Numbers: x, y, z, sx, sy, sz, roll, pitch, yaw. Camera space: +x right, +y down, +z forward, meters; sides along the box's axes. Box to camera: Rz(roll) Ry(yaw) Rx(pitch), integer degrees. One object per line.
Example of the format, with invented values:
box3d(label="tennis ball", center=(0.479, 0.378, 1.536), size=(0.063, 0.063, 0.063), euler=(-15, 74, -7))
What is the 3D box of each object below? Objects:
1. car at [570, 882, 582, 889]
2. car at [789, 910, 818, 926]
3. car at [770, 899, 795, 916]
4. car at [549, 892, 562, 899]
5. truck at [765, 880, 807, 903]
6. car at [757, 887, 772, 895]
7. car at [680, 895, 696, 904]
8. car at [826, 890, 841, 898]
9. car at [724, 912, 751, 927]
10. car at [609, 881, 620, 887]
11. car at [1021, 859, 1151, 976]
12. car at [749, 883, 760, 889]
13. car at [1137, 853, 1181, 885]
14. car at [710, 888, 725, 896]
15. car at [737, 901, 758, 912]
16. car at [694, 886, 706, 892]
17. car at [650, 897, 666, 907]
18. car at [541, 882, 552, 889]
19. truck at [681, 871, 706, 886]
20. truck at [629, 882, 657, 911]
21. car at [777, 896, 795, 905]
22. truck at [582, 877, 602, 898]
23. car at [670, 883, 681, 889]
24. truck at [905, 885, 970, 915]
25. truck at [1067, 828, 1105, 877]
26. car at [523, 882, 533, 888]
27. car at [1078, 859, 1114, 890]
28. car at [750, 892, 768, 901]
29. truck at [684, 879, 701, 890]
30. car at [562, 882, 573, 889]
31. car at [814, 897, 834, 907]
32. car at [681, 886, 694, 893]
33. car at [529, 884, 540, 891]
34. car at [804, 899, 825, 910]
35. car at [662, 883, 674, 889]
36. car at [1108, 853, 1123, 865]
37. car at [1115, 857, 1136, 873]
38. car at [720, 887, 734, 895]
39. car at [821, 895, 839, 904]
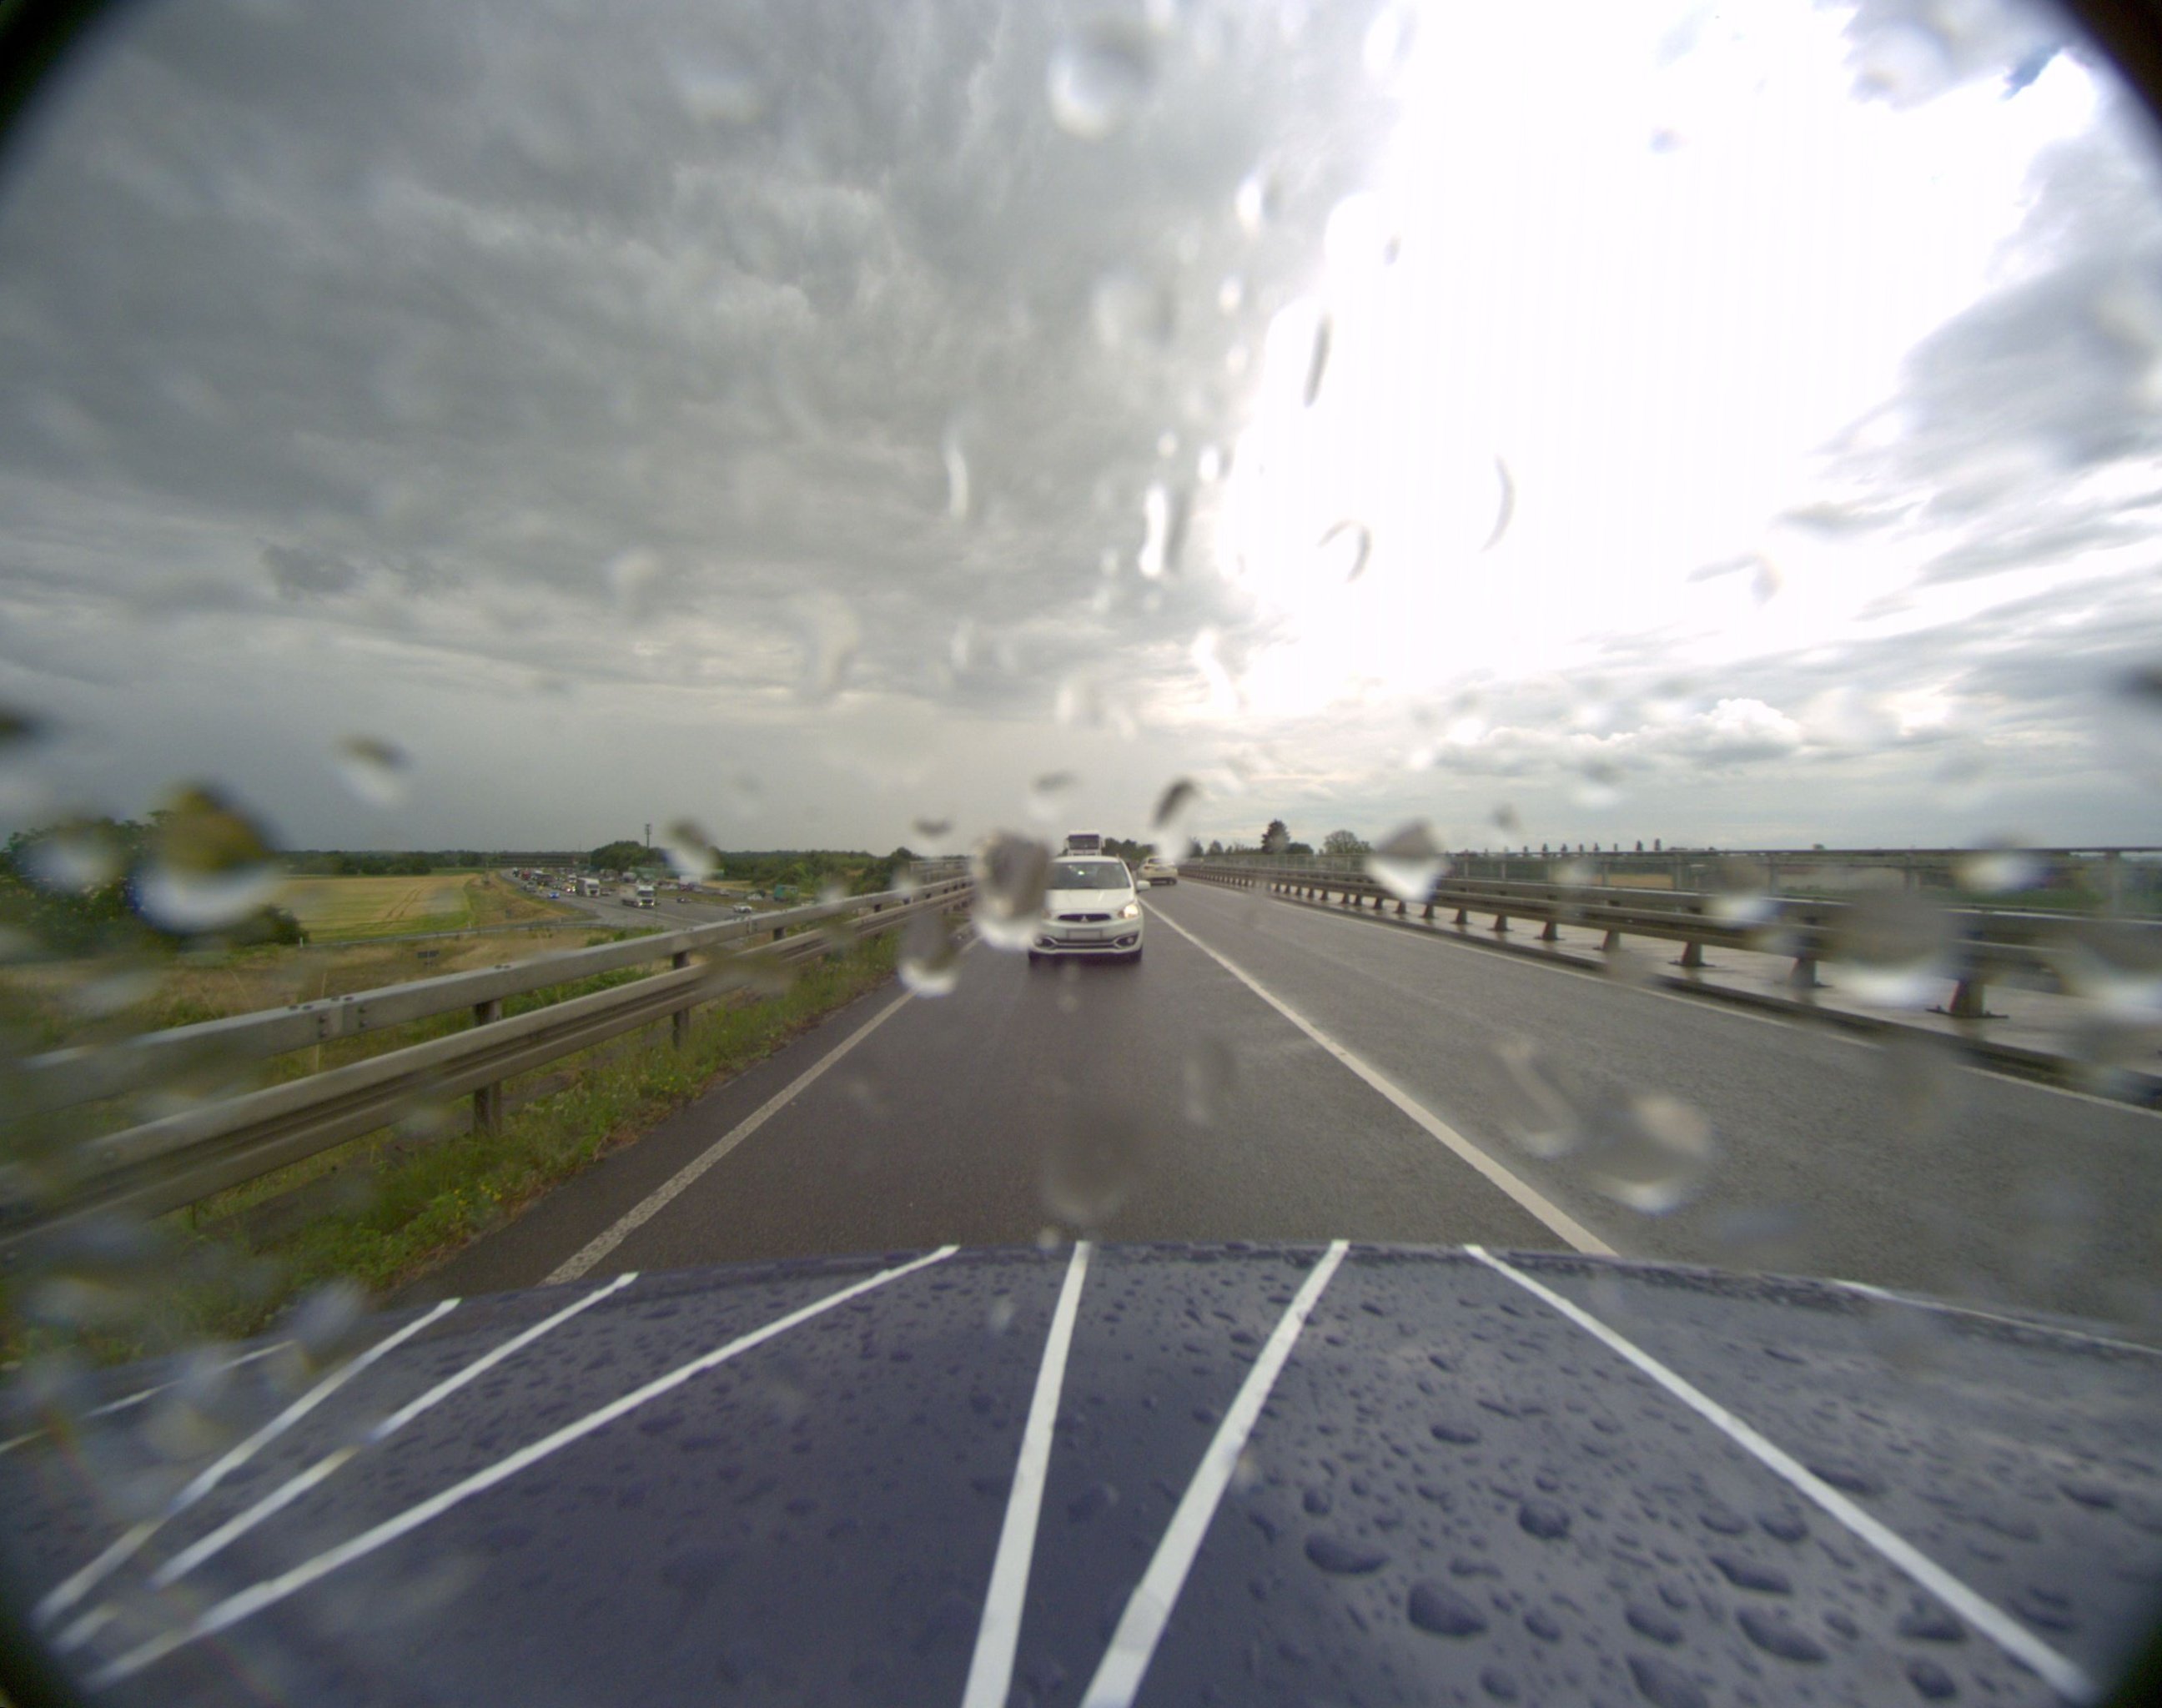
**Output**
box3d(label="car", center=(-131.476, 8.103, 197.751), size=(1.860, 1.659, 4.711), euler=(-2, 0, -41))
box3d(label="car", center=(-34.086, 7.839, 93.281), size=(1.860, 1.659, 4.711), euler=(-2, 0, -41))
box3d(label="car", center=(-41.915, 7.522, 106.739), size=(2.003, 2.002, 3.992), euler=(-8, 0, -39))
box3d(label="car", center=(-115.782, 9.104, 167.464), size=(1.818, 1.427, 4.711), euler=(-2, 0, -42))
box3d(label="truck", center=(-64.987, 8.113, 167.006), size=(3.611, 4.511, 15.588), euler=(-2, 0, -40))
box3d(label="car", center=(-77.783, 9.066, 186.740), size=(1.860, 1.659, 4.711), euler=(-2, 0, -41))
box3d(label="car", center=(-82.061, 9.437, 158.506), size=(1.860, 1.659, 4.711), euler=(-2, 0, -41))
box3d(label="car", center=(-59.890, 9.656, 183.906), size=(1.860, 1.659, 4.711), euler=(-2, 0, -41))
box3d(label="car", center=(-44.316, 8.411, 97.945), size=(1.860, 1.659, 4.711), euler=(-2, 0, -41))
box3d(label="car", center=(-133.925, 8.640, 217.957), size=(1.860, 1.659, 4.711), euler=(-2, 0, -41))
box3d(label="car", center=(0.070, 0.855, 12.082), size=(1.675, 1.476, 4.129), euler=(-2, 0, 0))
box3d(label="car", center=(-96.684, 9.403, 224.965), size=(1.860, 1.659, 4.711), euler=(-2, 0, -41))
box3d(label="car", center=(3.990, 0.727, 39.312), size=(1.814, 1.501, 4.611), euler=(-2, 0, 1))
box3d(label="car", center=(-83.859, 8.811, 175.253), size=(1.860, 1.659, 4.711), euler=(-2, 0, -41))
box3d(label="car", center=(-57.233, 8.997, 130.367), size=(2.003, 1.613, 3.990), euler=(-8, 3, -41))
box3d(label="car", center=(-101.248, 9.276, 201.908), size=(1.860, 1.659, 4.711), euler=(-2, 0, -41))
box3d(label="car", center=(-82.401, 9.307, 147.971), size=(1.860, 1.659, 4.711), euler=(-2, 0, -41))
box3d(label="car", center=(-137.393, 7.990, 195.308), size=(1.860, 1.659, 4.711), euler=(-1, 0, -41))
box3d(label="truck", center=(-120.645, 7.480, 236.367), size=(3.611, 4.511, 15.588), euler=(-2, 0, -40))
box3d(label="truck", center=(-80.189, 7.667, 139.015), size=(2.799, 4.871, 12.723), euler=(-2, 0, -37))
box3d(label="car", center=(-59.489, 9.338, 153.223), size=(1.860, 1.659, 4.711), euler=(-2, 0, -43))
box3d(label="truck", center=(-113.980, 7.691, 177.098), size=(2.799, 4.590, 12.723), euler=(-2, 0, -37))
box3d(label="car", center=(-118.542, 9.230, 222.050), size=(1.860, 1.659, 4.711), euler=(-2, 0, -41))
box3d(label="truck", center=(-24.219, 7.542, 127.723), size=(3.611, 4.511, 14.064), euler=(-2, 0, -43))
box3d(label="truck", center=(0.292, -0.248, 59.116), size=(2.631, 3.537, 8.474), euler=(-1, 2, -1))
box3d(label="car", center=(-149.967, 8.437, 206.088), size=(1.860, 1.659, 4.711), euler=(-2, 0, -41))
box3d(label="car", center=(0.707, 0.985, 37.842), size=(1.675, 1.366, 4.129), euler=(-2, 0, 0))
box3d(label="car", center=(-66.325, 8.739, 156.340), size=(1.860, 1.659, 4.711), euler=(-2, 0, -43))
box3d(label="truck", center=(-111.585, 8.770, 218.234), size=(2.216, 2.948, 9.283), euler=(-2, 0, -41))
box3d(label="car", center=(-142.274, 8.772, 210.443), size=(1.860, 1.659, 4.711), euler=(-2, 0, -41))
box3d(label="car", center=(-49.541, 9.297, 146.547), size=(1.860, 1.659, 4.711), euler=(-2, 0, -43))
box3d(label="car", center=(-101.735, 9.227, 196.445), size=(1.860, 1.659, 4.711), euler=(-2, 0, -41))
box3d(label="car", center=(-141.237, 8.685, 196.288), size=(1.860, 1.659, 4.711), euler=(-2, 0, -41))
box3d(label="car", center=(-47.239, 8.976, 134.565), size=(1.860, 1.659, 4.711), euler=(-2, 0, -43))
box3d(label="car", center=(-115.108, 8.920, 211.776), size=(1.860, 1.659, 4.711), euler=(-2, 0, -41))
box3d(label="car", center=(4.619, 0.697, 101.870), size=(1.718, 1.508, 3.859), euler=(-2, 1, 0))
box3d(label="car", center=(4.314, 1.065, 73.944), size=(1.701, 1.424, 4.323), euler=(-2, 0, 0))
box3d(label="car", center=(-86.261, 9.048, 185.113), size=(1.860, 1.659, 4.711), euler=(-2, 0, -41))
box3d(label="car", center=(-52.185, 9.443, 157.898), size=(1.860, 1.659, 4.711), euler=(-2, 0, -43))
